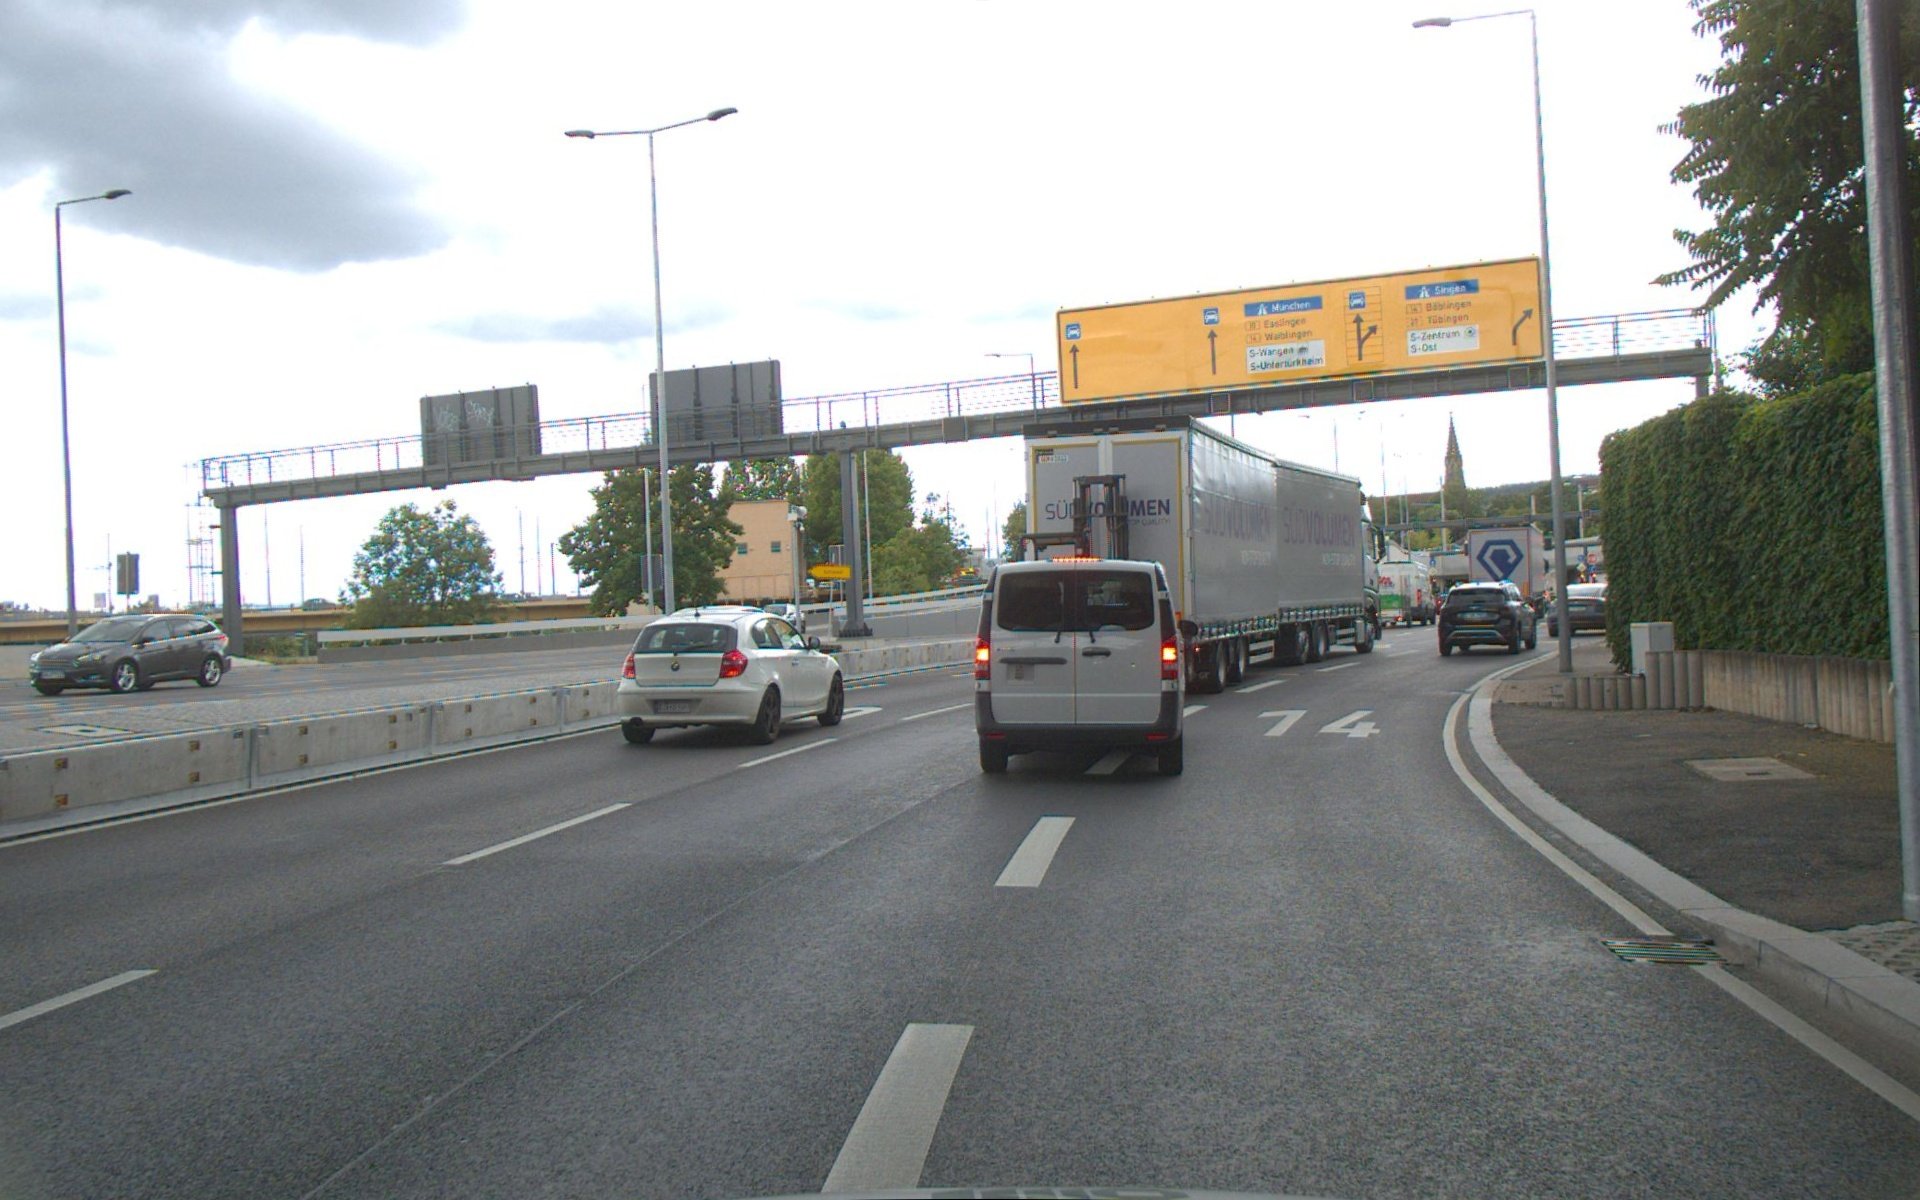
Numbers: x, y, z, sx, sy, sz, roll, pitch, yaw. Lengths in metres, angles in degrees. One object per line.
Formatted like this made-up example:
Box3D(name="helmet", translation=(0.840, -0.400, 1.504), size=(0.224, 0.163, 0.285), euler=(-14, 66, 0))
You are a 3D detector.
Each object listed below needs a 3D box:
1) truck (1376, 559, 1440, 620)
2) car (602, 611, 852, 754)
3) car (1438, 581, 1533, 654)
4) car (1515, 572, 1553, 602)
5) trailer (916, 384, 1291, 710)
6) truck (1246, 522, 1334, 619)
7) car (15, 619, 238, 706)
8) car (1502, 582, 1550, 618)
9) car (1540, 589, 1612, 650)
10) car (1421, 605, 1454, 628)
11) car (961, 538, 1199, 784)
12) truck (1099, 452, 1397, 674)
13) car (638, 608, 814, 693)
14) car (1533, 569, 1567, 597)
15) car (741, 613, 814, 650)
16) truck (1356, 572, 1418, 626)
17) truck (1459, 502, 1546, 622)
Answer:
Box3D(name="truck", translation=(19.011, -0.425, 70.119), size=(1.954, 2.519, 3.997), euler=(1, 0, 25))
Box3D(name="car", translation=(-2.592, 0.877, 19.398), size=(1.706, 1.457, 4.003), euler=(1, 0, 10))
Box3D(name="car", translation=(11.981, 0.422, 37.540), size=(1.853, 1.547, 4.000), euler=(-1, -2, 20))
Box3D(name="car", translation=(34.935, -0.761, 100.558), size=(1.953, 1.713, 3.999), euler=(1, 0, 22))
Box3D(name="trailer", translation=(2.890, -0.650, 27.265), size=(3.646, 4.214, 10.988), euler=(-2, -1, 18))
Box3D(name="truck", translation=(12.899, -1.037, 64.079), size=(2.998, 3.481, 9.165), euler=(1, 0, 13))
Box3D(name="car", translation=(-16.351, 1.186, 32.719), size=(1.779, 1.563, 4.404), euler=(-1, -1, 7))
Box3D(name="car", translation=(27.718, 0.006, 80.892), size=(1.953, 1.713, 3.999), euler=(1, 0, 22))
Box3D(name="car", translation=(17.777, 0.565, 47.766), size=(1.853, 1.655, 4.000), euler=(-1, -1, 20))
Box3D(name="car", translation=(36.920, 1.292, 127.871), size=(1.953, 1.713, 3.999), euler=(-1, -1, 22))
Box3D(name="car", translation=(1.343, 0.540, 16.483), size=(1.951, 2.025, 5.203), euler=(-1, -1, 8))
Box3D(name="truck", translation=(6.873, -0.698, 37.354), size=(3.651, 4.214, 10.973), euler=(-2, -1, 26))
Box3D(name="car", translation=(-4.303, 0.896, 30.974), size=(1.707, 1.457, 3.776), euler=(1, 0, 19))
Box3D(name="car", translation=(40.438, -1.180, 113.286), size=(1.953, 1.814, 3.999), euler=(1, 0, 22))
Box3D(name="car", translation=(-8.404, 1.432, 76.569), size=(1.951, 1.612, 4.139), euler=(2, 0, 15))
Box3D(name="truck", translation=(17.146, -0.014, 66.315), size=(1.952, 2.066, 3.833), euler=(1, 0, 21))
Box3D(name="truck", translation=(23.802, -1.517, 72.284), size=(3.001, 4.887, 9.157), euler=(1, 0, 22))
